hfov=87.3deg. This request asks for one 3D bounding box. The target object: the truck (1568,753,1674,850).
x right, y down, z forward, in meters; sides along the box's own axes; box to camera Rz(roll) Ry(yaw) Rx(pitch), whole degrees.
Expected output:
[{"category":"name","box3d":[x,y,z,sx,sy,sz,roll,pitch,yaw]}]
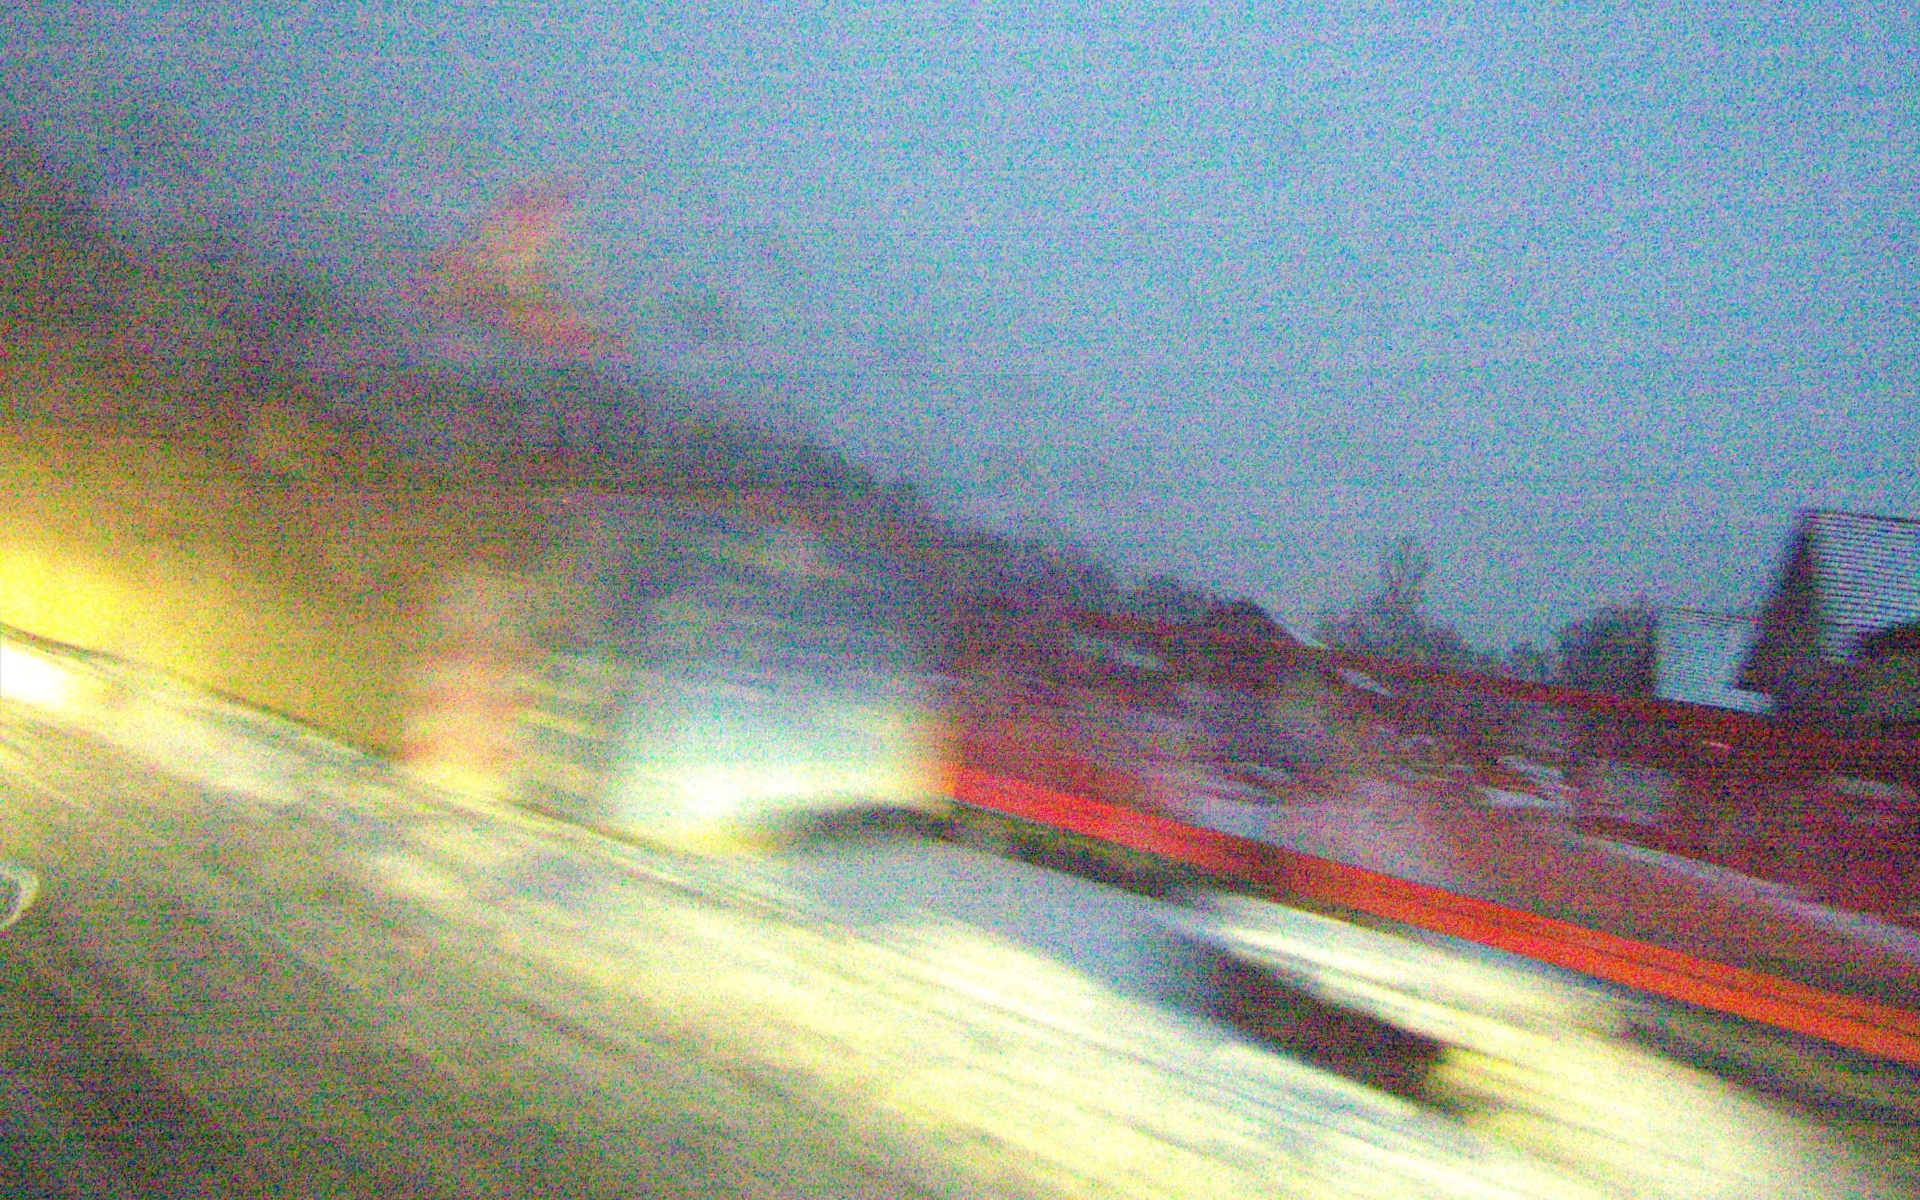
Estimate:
[{"category":"truck","box3d":[19.285,5.786,29.539,1.966,2.260,4.387,7,-4,29]}]
